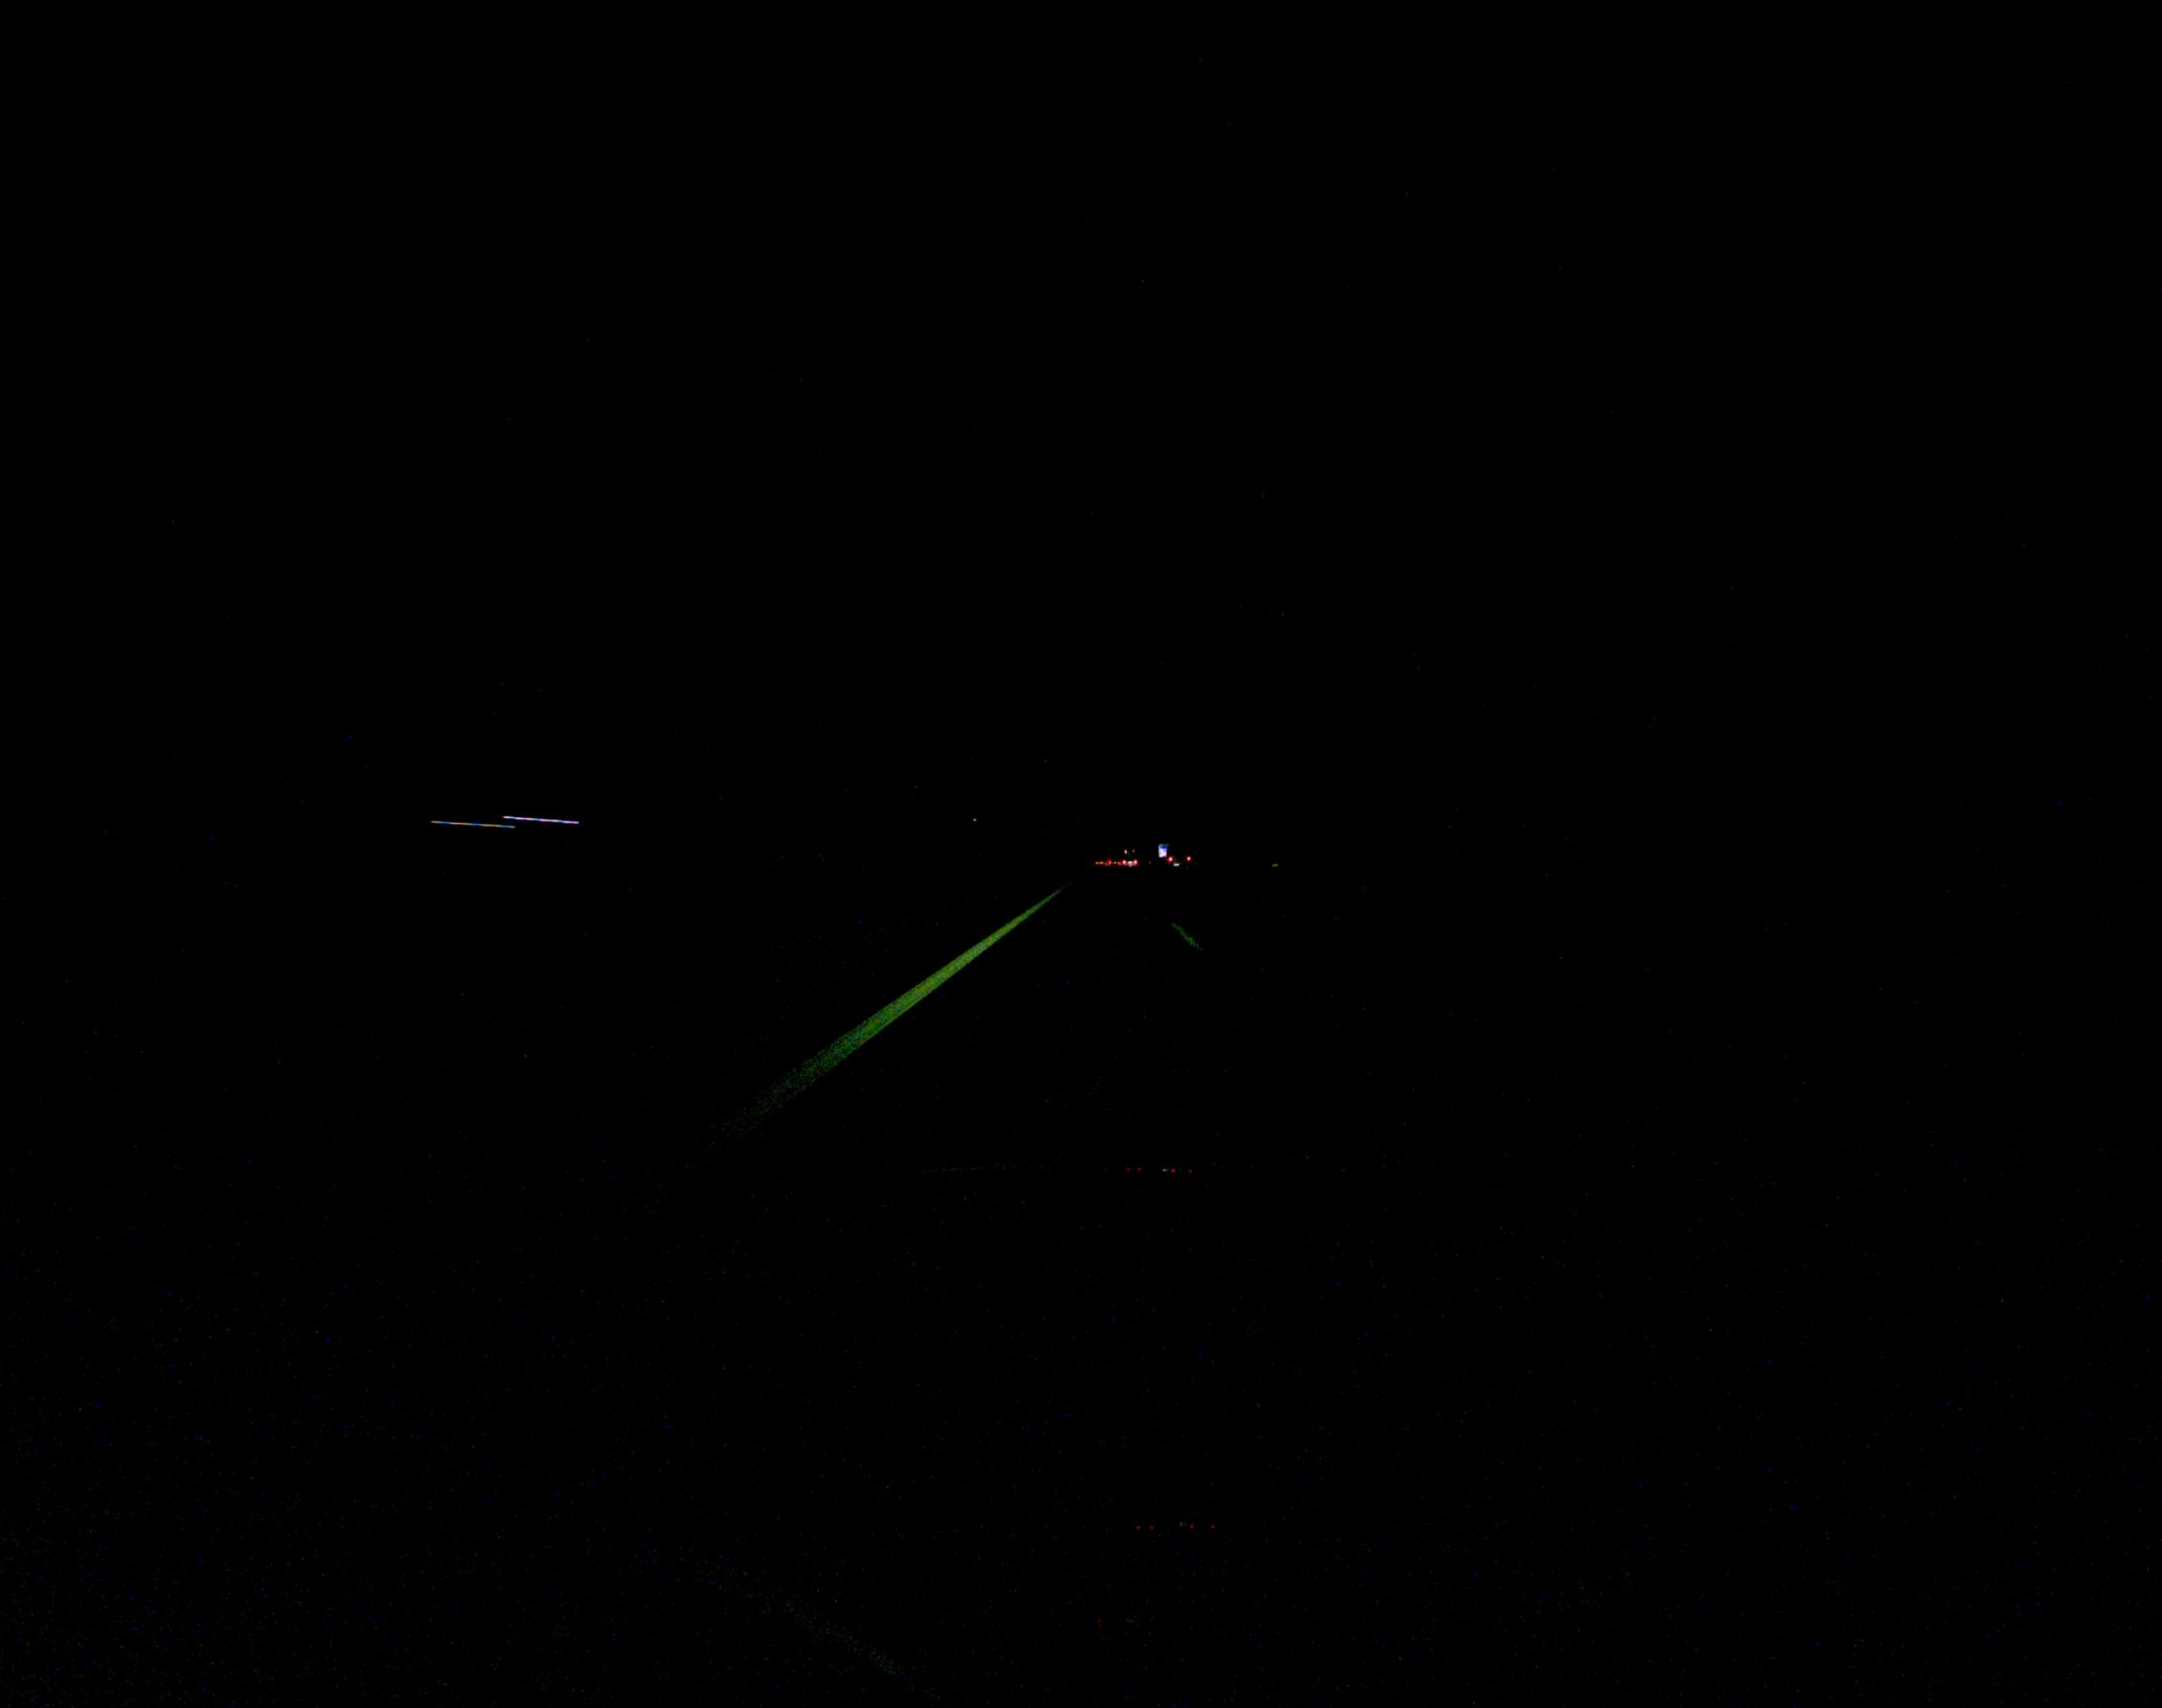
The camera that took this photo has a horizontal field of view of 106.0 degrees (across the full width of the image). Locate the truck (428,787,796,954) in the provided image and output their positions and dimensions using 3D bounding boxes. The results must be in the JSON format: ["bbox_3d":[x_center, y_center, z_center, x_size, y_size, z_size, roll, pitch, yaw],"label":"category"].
[{"bbox_3d":[-15.361,0.382,29.978,3.102,4.202,16.984,-4,0,1],"label":"truck"}]

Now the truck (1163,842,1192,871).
[{"bbox_3d":[9.754,0.354,83.011,2.070,2.691,7.306,-1,-2,0],"label":"truck"}]

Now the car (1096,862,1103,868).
[{"bbox_3d":[5.102,3.070,220.003,1.814,1.466,4.250,-1,0,2],"label":"car"}]

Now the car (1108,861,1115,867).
[{"bbox_3d":[8.207,2.642,215.668,1.814,1.466,4.250,-1,0,2],"label":"car"}]

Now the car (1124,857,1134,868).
[{"bbox_3d":[6.407,1.100,109.254,1.341,1.387,3.503,-1,0,2],"label":"car"}]

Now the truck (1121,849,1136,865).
[{"bbox_3d":[10.062,0.590,174.676,3.032,3.324,10.147,-1,0,2],"label":"truck"}]
